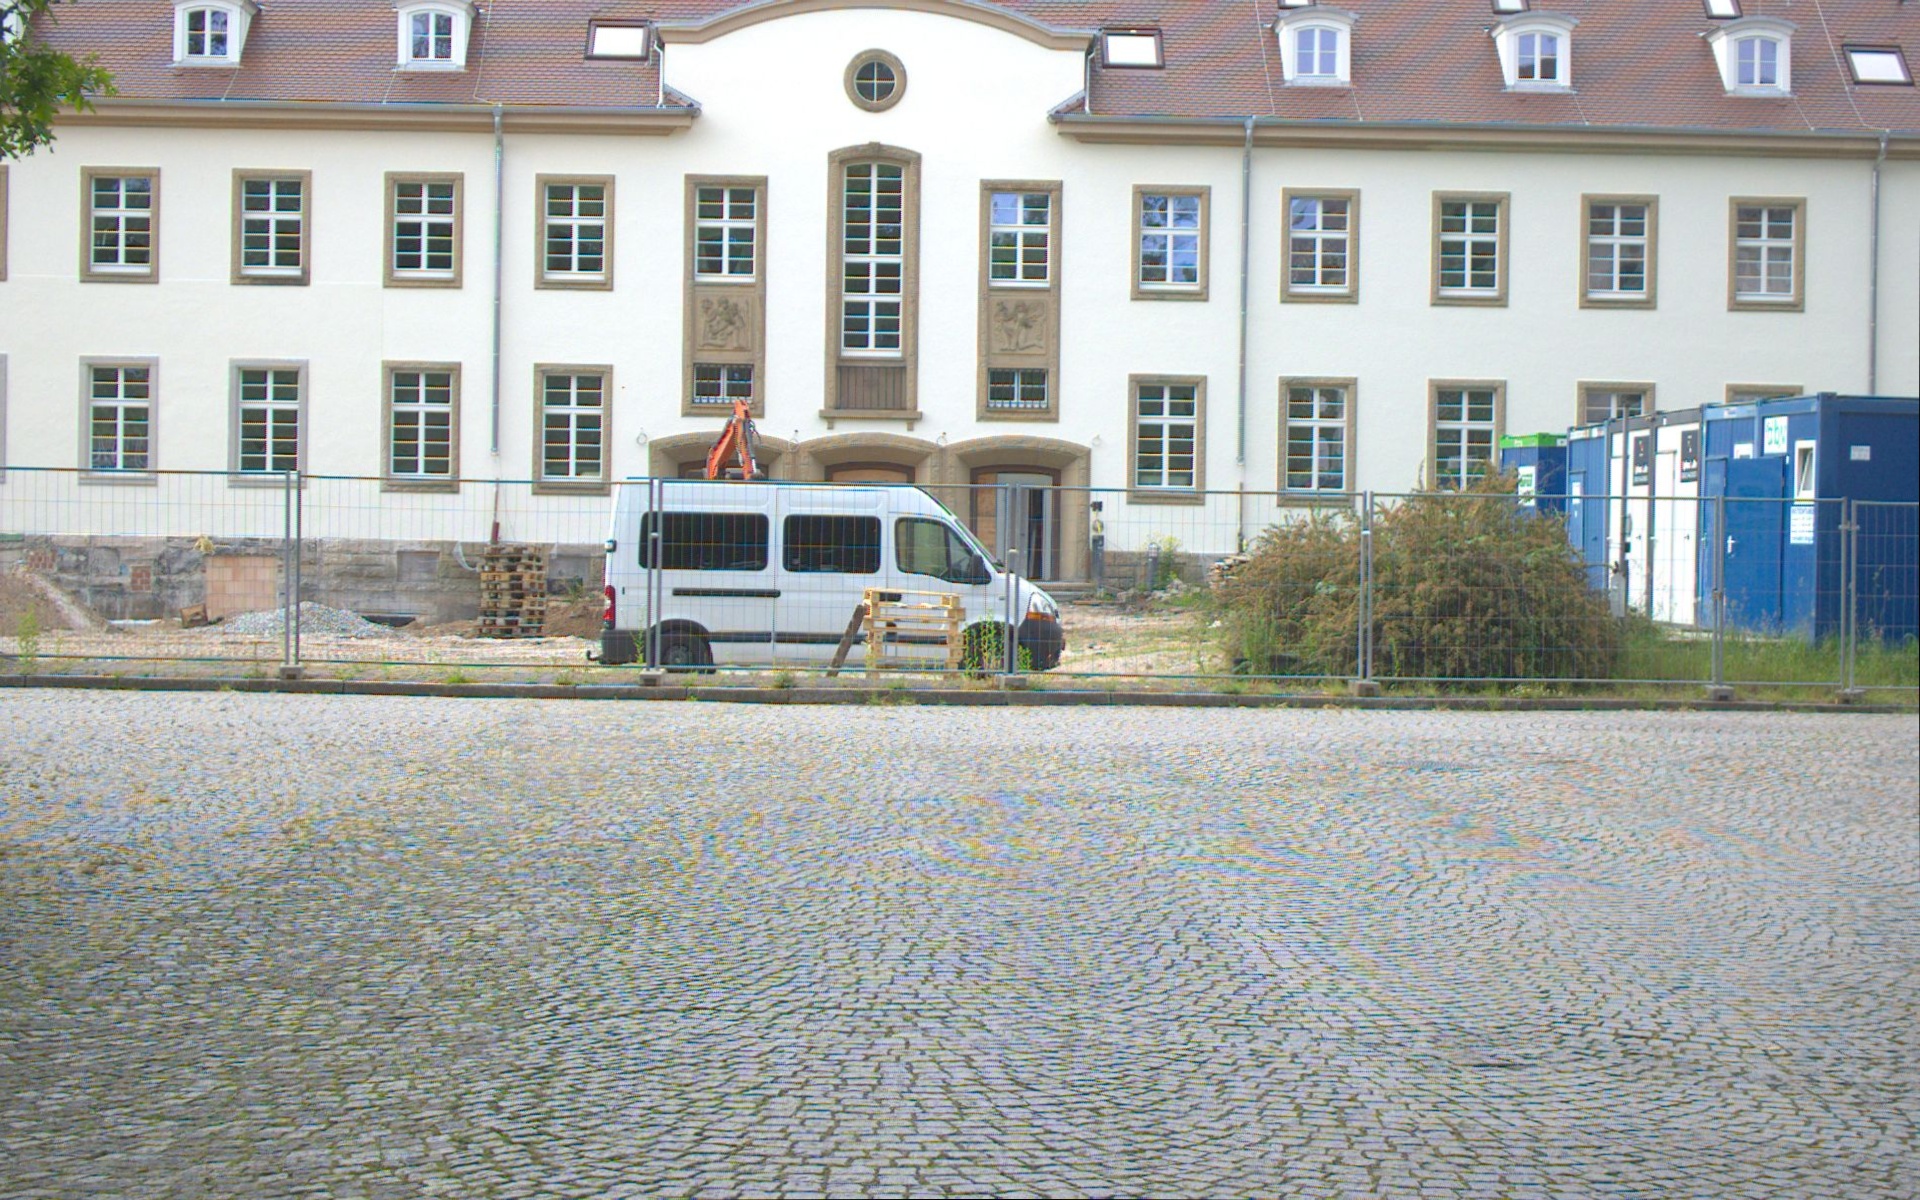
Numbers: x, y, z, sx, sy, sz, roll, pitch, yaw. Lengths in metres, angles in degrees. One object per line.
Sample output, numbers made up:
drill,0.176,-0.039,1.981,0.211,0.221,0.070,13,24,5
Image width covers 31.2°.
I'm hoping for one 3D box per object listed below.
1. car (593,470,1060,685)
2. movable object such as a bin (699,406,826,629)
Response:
car,-1.519,-0.269,40.022,5.262,2.336,1.910,1,1,0
movable object such as a bin,-3.564,-1.447,61.193,1.993,3.758,5.319,1,1,-5
